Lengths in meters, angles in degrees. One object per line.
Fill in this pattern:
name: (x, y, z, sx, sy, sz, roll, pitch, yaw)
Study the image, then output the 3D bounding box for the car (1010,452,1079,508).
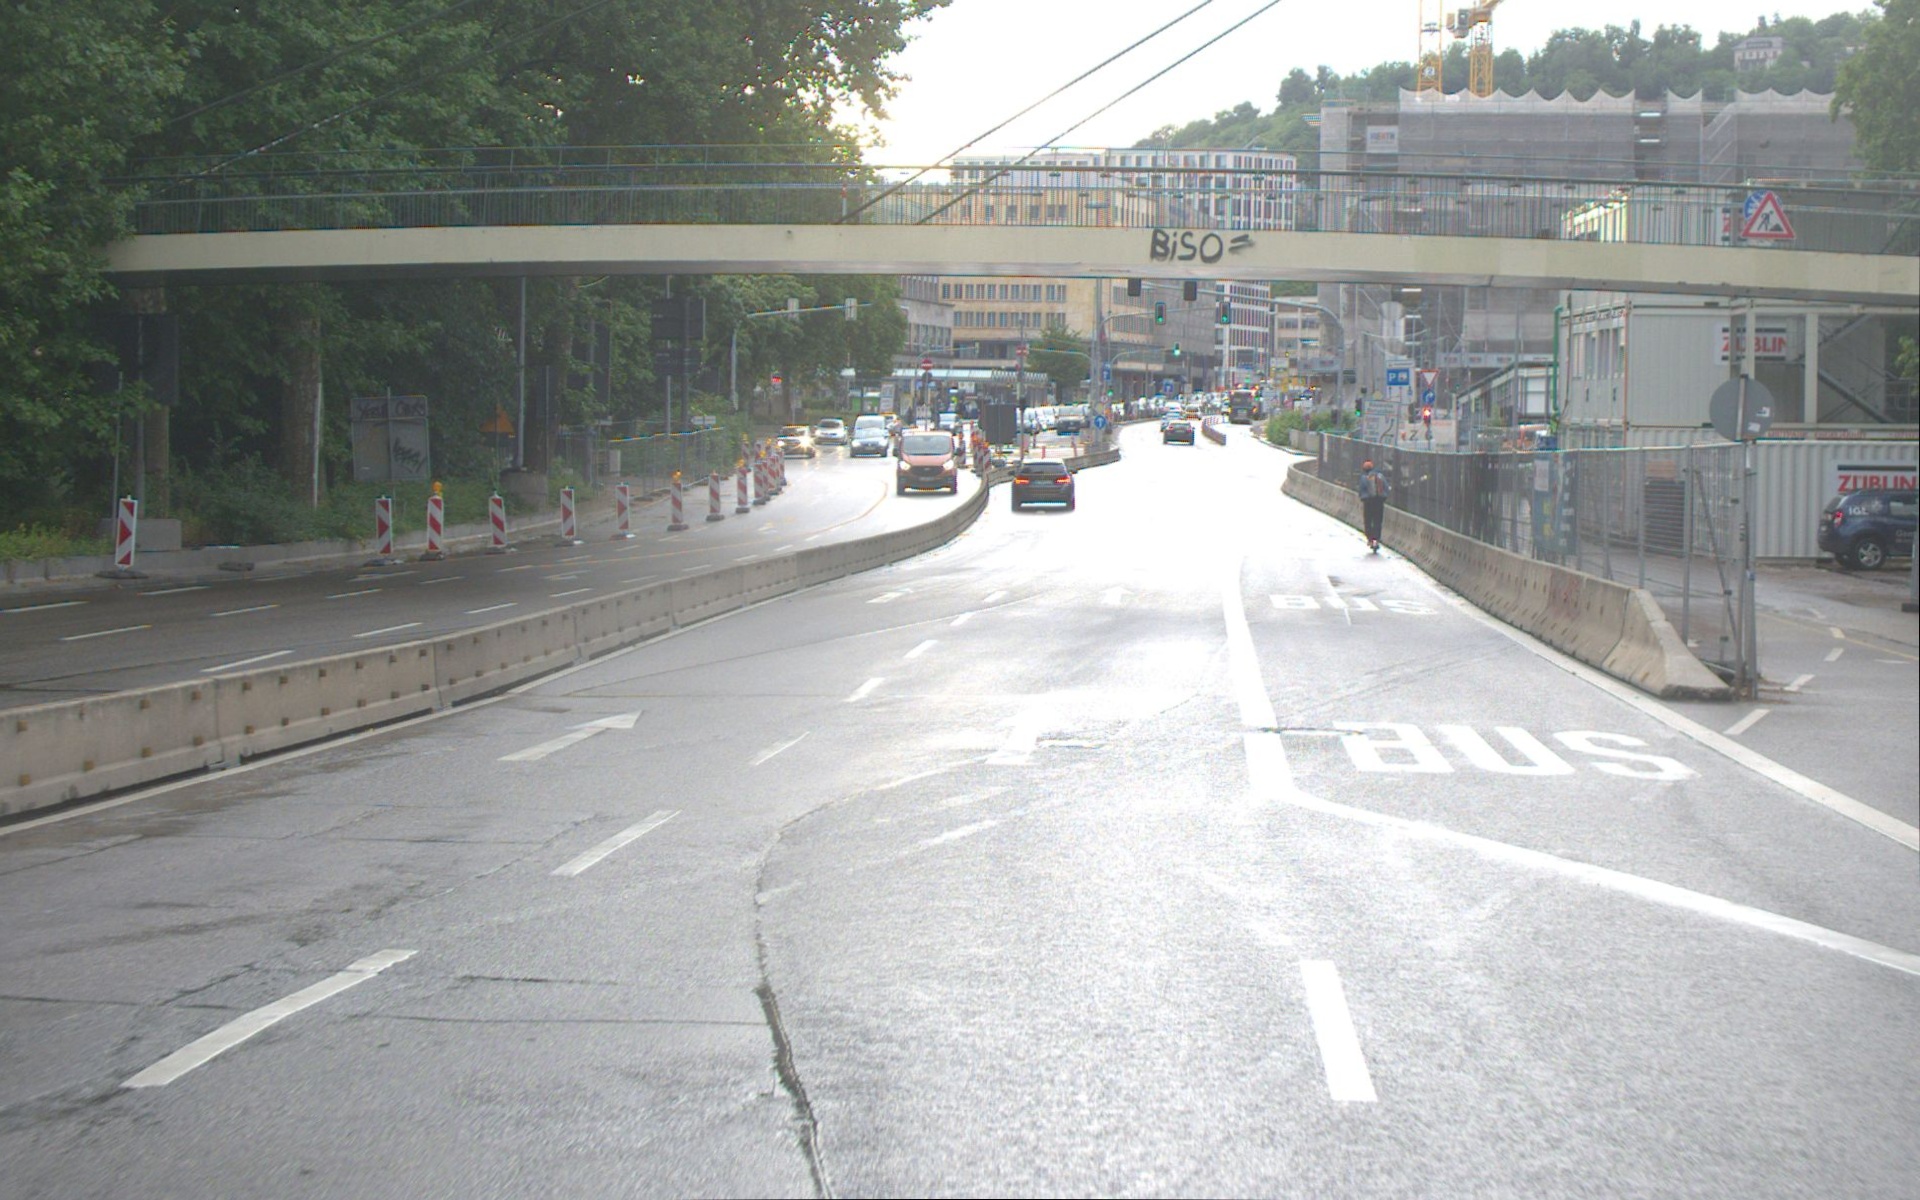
car: (2.395, -3.407, 98.001, 1.902, 1.522, 4.177, -1, 1, 1)

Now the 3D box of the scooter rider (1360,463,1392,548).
scooter rider: (8.878, -2.026, 73.344, 0.597, 1.779, 0.997, 2, 3, 6)

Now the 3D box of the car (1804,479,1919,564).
car: (19.646, -1.588, 69.858, 4.543, 1.623, 1.788, 1, 4, 2)

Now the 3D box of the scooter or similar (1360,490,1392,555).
scooter or similar: (8.875, -1.655, 73.385, 0.597, 1.314, 1.667, 2, 3, 6)

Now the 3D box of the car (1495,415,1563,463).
car: (24.994, -7.093, 151.116, 1.911, 1.968, 5.164, 1, 3, -2)

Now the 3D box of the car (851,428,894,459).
car: (-4.323, -7.706, 169.311, 1.712, 1.334, 4.063, -5, 3, -5)

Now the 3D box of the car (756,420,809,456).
car: (-8.695, -7.952, 168.183, 2.030, 1.647, 4.321, -1, 4, -11)

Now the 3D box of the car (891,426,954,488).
car: (-1.270, -4.734, 114.252, 2.030, 1.930, 5.044, -1, 1, -1)

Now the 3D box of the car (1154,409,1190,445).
car: (12.576, -10.247, 203.900, 1.994, 2.007, 4.000, -1, 1, 5)
